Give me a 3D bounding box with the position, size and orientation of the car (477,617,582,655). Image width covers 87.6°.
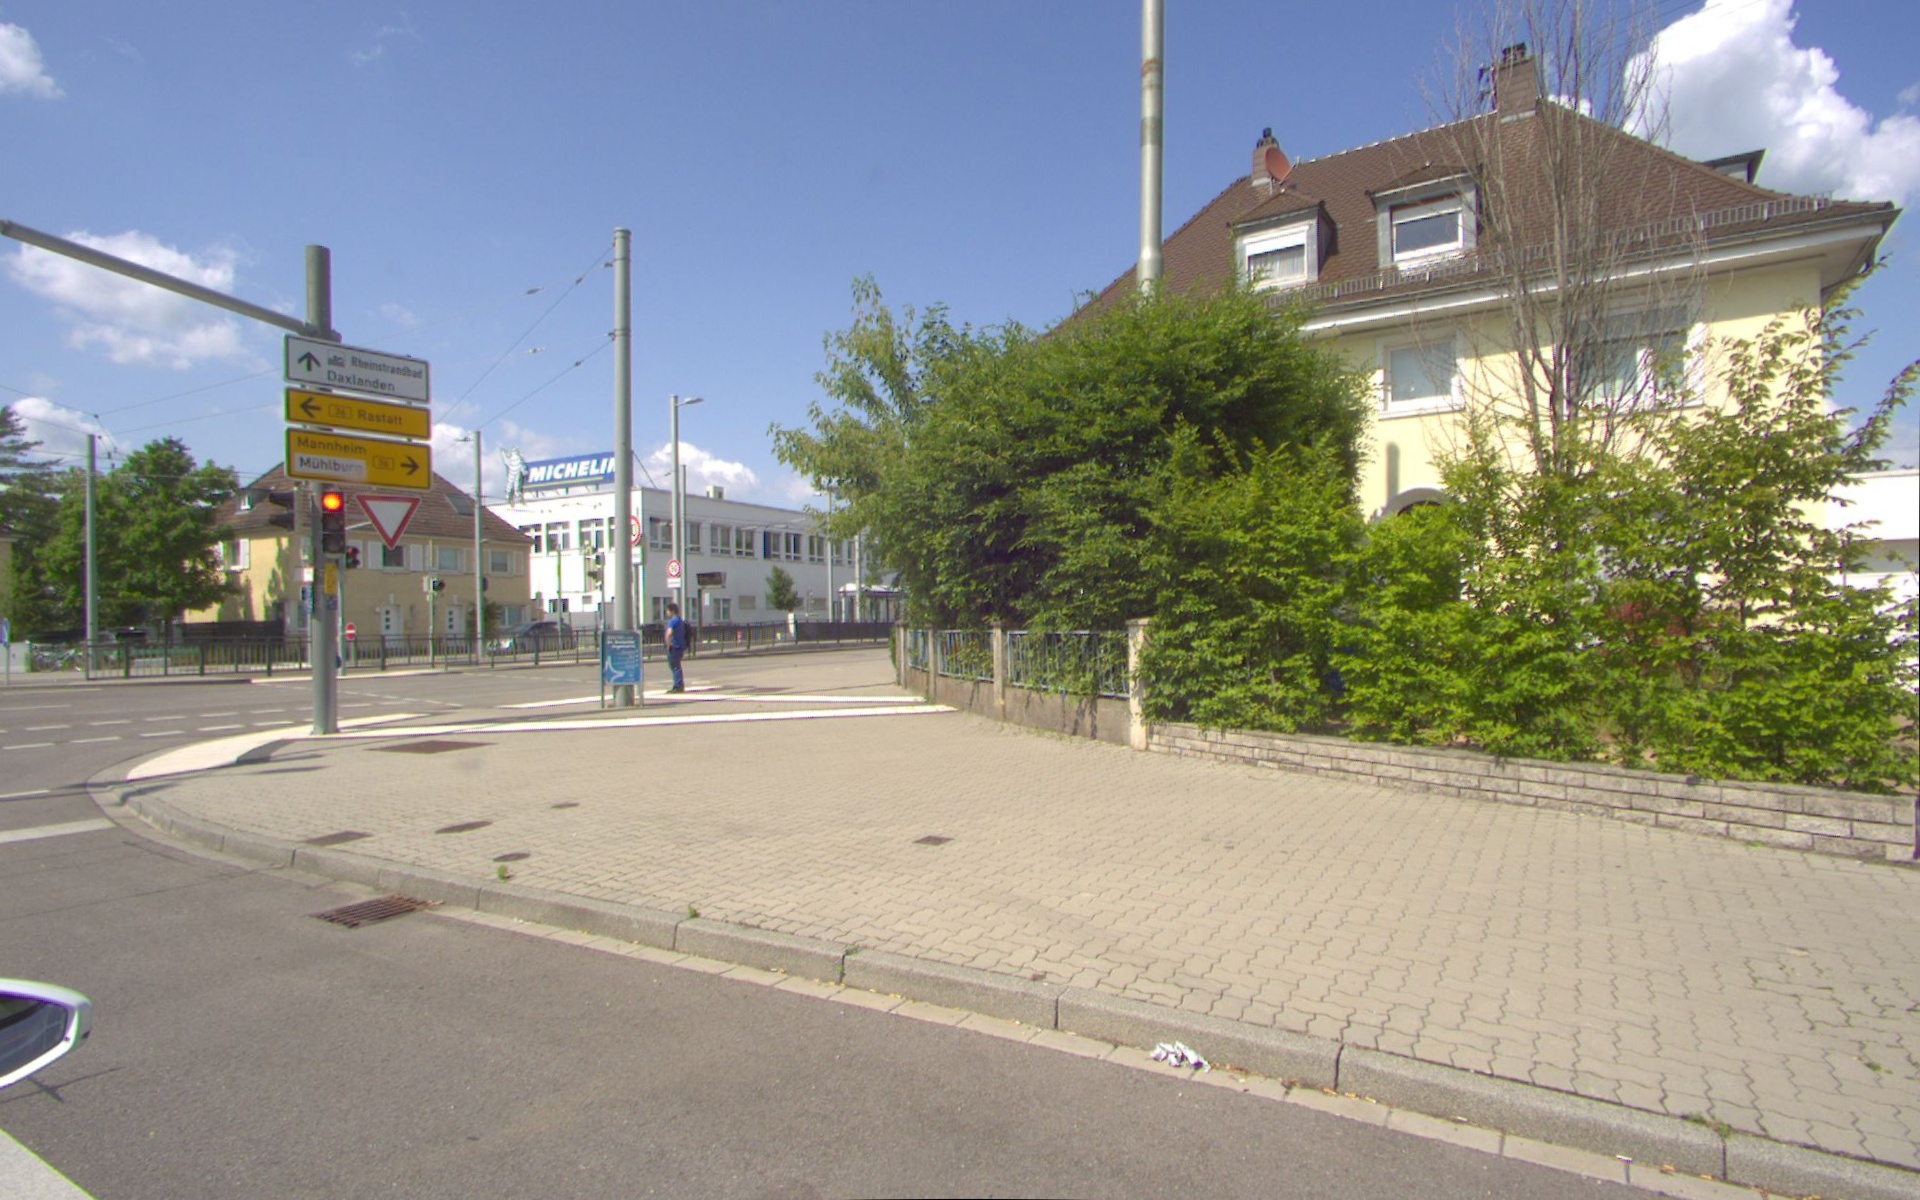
[{"bbox_3d":[-18.987,1.566,44.328,1.815,1.589,3.981,-1,-1,30],"label":"car"}]

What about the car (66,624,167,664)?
[{"bbox_3d":[-37.598,1.951,44.637,3.934,1.641,1.823,-3,-1,23],"label":"car"}]

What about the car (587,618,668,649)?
[{"bbox_3d":[-16.490,1.665,49.786,1.553,1.465,3.705,-1,-1,30],"label":"car"}]

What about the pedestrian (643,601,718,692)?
[{"bbox_3d":[-5.594,0.907,20.046,1.025,1.757,1.028,-1,0,29],"label":"pedestrian"}]

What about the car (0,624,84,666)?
[{"bbox_3d":[-39.392,1.922,42.450,3.934,1.641,1.823,-3,-1,23],"label":"car"}]

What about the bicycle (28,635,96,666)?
[{"bbox_3d":[-34.242,1.919,38.192,1.777,1.119,0.701,-1,-1,-19],"label":"bicycle"}]
